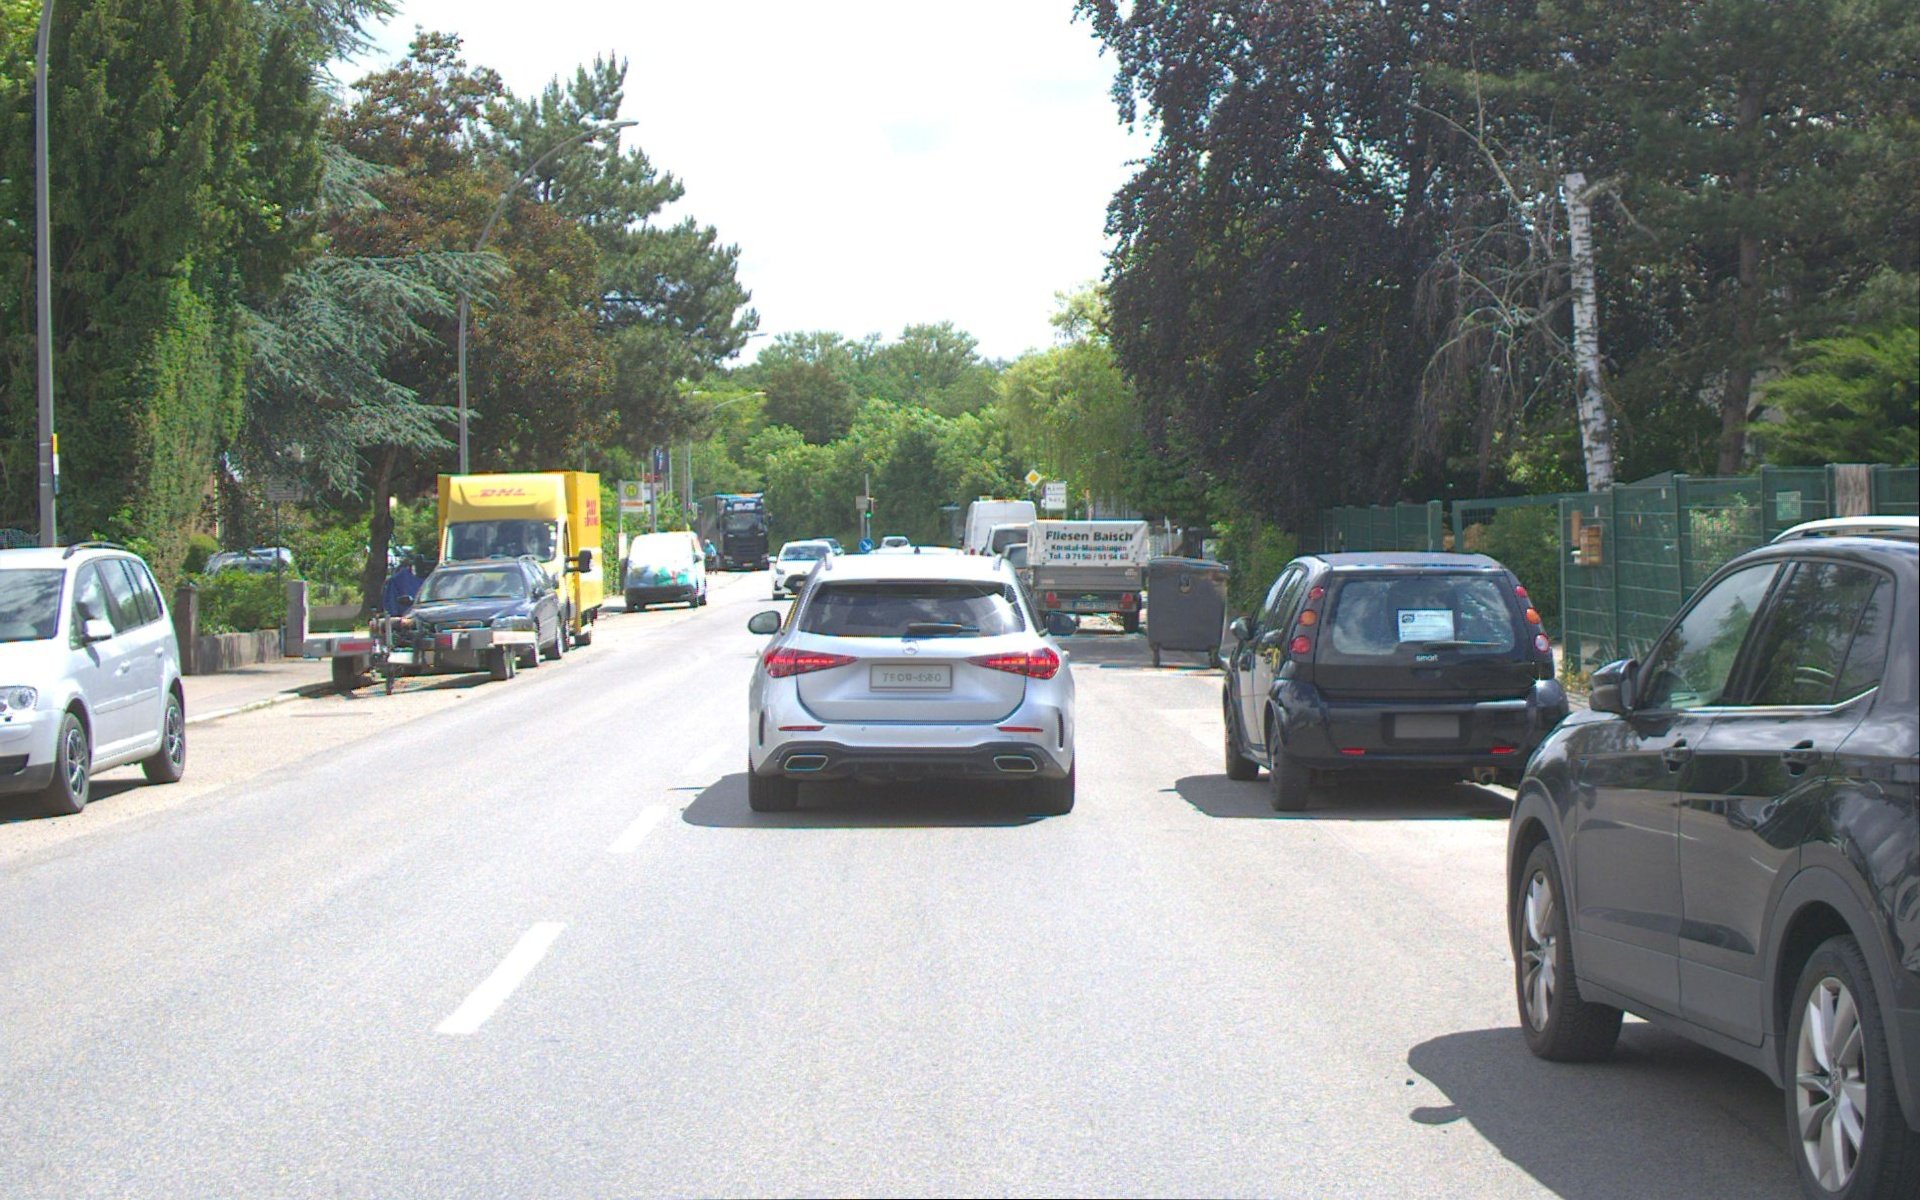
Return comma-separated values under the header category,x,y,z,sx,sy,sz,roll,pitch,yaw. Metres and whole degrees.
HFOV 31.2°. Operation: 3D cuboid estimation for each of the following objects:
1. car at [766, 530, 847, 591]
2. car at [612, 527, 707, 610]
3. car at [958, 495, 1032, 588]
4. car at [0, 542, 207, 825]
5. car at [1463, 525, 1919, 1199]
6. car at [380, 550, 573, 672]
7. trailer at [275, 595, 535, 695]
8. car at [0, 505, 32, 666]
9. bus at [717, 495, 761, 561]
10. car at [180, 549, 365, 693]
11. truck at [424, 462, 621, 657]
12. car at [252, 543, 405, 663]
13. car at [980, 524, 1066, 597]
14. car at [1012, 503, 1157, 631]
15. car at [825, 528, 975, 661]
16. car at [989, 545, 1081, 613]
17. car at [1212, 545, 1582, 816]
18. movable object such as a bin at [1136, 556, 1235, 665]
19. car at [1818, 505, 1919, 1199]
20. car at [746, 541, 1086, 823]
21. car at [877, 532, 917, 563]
category,x,y,z,sx,sy,sz,roll,pitch,yaw
car,-3.977,-1.055,89.466,1.934,1.487,4.364,-2,1,-1
car,-7.271,-0.796,83.621,1.934,1.912,4.364,-2,1,-1
car,0.944,-1.588,94.807,1.784,2.510,4.317,0,0,-3
car,-6.169,0.469,21.915,1.791,1.598,4.364,-2,1,-1
car,2.589,0.584,8.789,1.689,1.546,4.086,-1,1,-4
car,-6.463,0.107,46.394,2.075,1.473,4.457,-2,1,-2
trailer,-6.279,0.476,39.610,2.228,0.921,5.949,-1,1,-2
car,-10.887,-0.114,35.075,1.993,1.651,4.001,-2,1,-5
bus,-11.699,-3.803,181.486,1.993,3.353,6.984,1,1,-6
car,-10.238,0.275,51.438,1.993,2.007,4.000,1,1,-1
truck,-6.807,-0.682,54.290,2.075,2.804,7.078,-2,1,0
car,-11.183,0.013,61.140,1.993,2.007,4.000,1,1,-1
car,1.488,-0.943,82.734,1.784,1.709,4.317,0,0,-3
car,2.011,-0.571,57.175,2.144,1.977,5.261,-1,1,0
car,-0.786,-0.110,42.805,1.755,1.553,4.001,-1,1,-2
car,1.659,-0.475,77.411,1.784,1.479,4.317,0,0,-3
car,2.534,0.409,20.747,1.689,1.445,3.848,-1,1,0
movable object such as a bin,2.728,0.120,41.734,1.084,1.266,1.380,1,1,0
car,2.527,0.625,3.942,1.791,1.546,4.574,-2,1,-2
car,-0.329,0.416,20.244,1.784,1.479,4.317,0,0,-3
car,-3.228,-2.684,175.825,1.755,1.553,4.001,-1,1,-5
